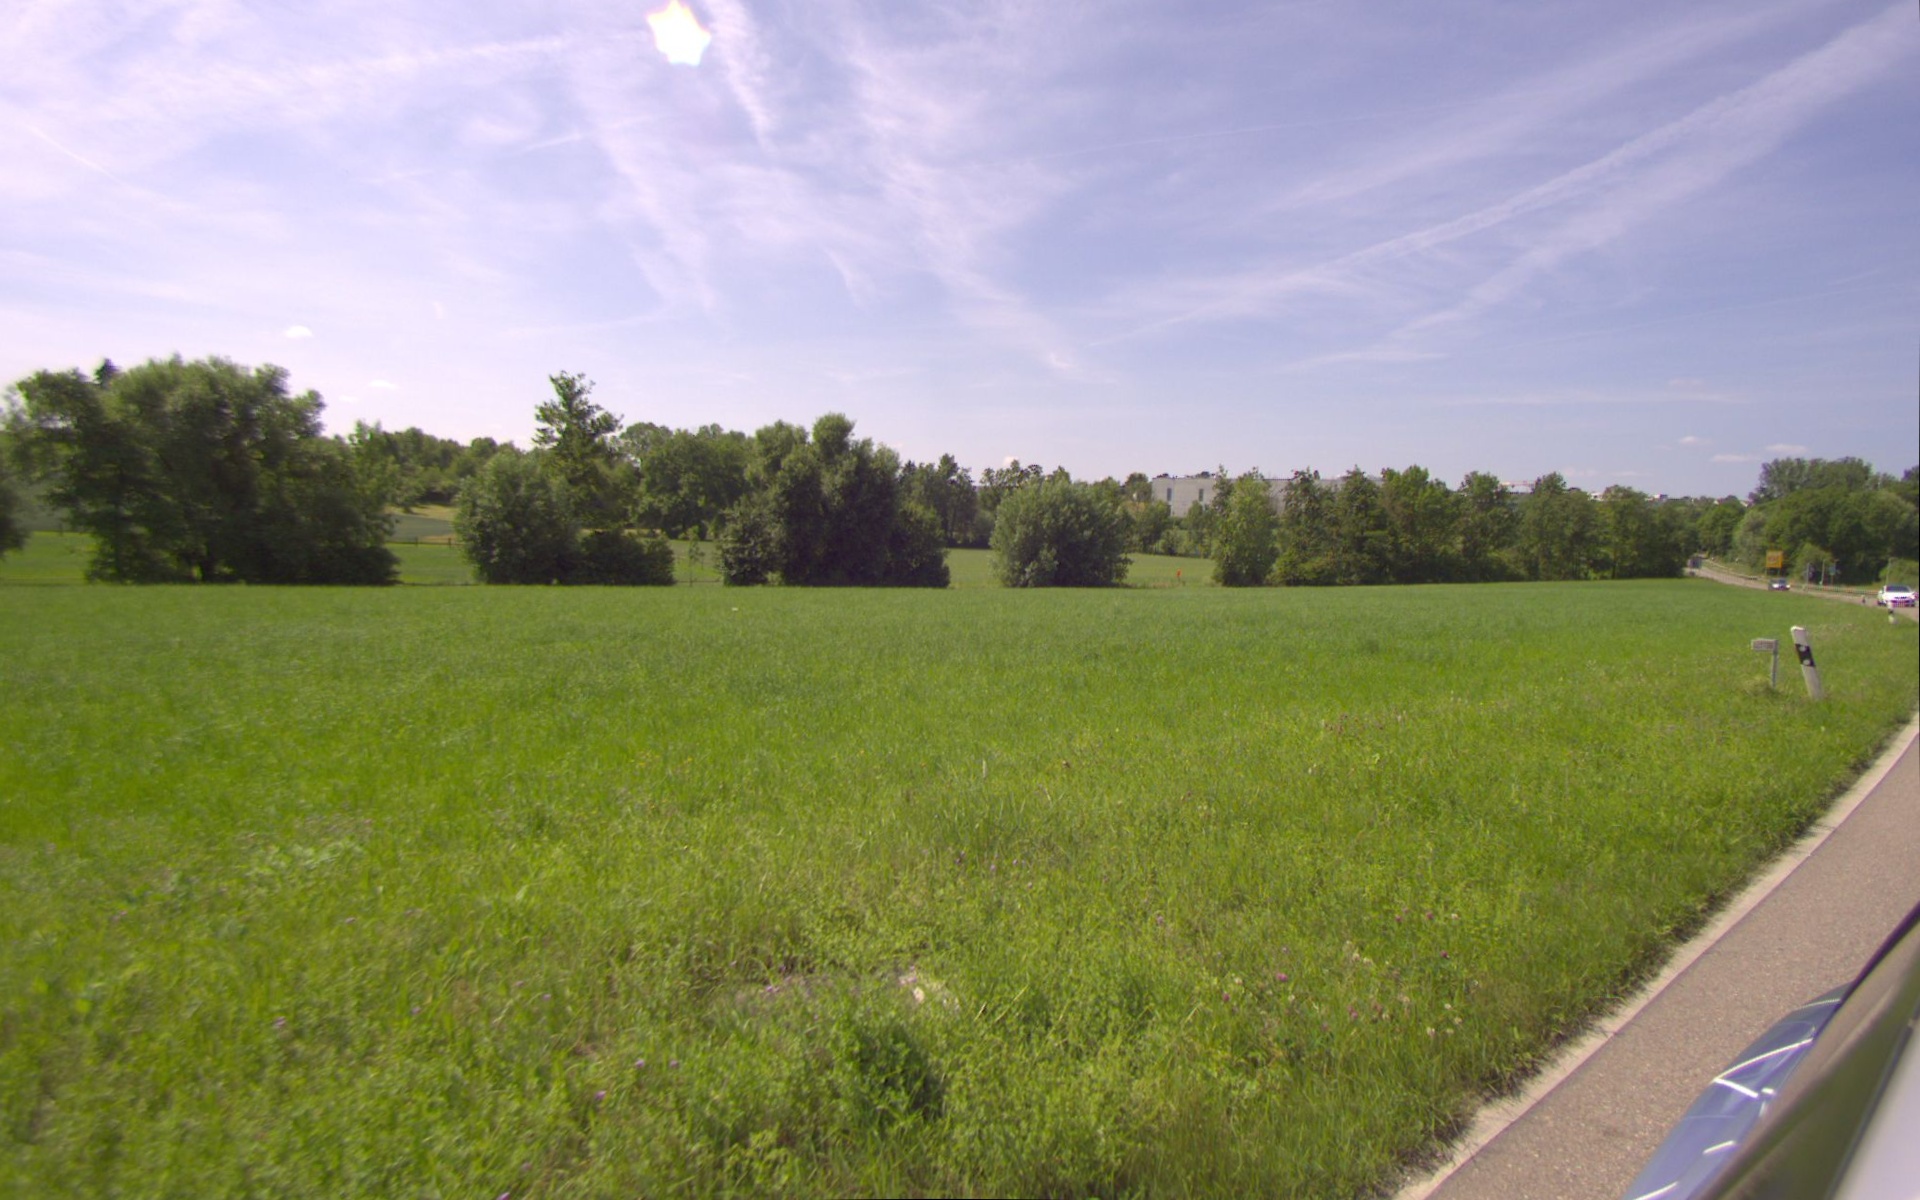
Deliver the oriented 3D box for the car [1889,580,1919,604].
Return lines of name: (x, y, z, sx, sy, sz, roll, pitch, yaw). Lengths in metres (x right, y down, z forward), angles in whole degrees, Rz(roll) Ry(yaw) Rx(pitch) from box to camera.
car: (66.089, -0.598, 70.200, 1.989, 1.604, 3.948, 2, 2, 36)

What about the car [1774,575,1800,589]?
car: (102.481, -2.245, 125.417, 1.985, 1.604, 3.955, 2, 2, 32)
